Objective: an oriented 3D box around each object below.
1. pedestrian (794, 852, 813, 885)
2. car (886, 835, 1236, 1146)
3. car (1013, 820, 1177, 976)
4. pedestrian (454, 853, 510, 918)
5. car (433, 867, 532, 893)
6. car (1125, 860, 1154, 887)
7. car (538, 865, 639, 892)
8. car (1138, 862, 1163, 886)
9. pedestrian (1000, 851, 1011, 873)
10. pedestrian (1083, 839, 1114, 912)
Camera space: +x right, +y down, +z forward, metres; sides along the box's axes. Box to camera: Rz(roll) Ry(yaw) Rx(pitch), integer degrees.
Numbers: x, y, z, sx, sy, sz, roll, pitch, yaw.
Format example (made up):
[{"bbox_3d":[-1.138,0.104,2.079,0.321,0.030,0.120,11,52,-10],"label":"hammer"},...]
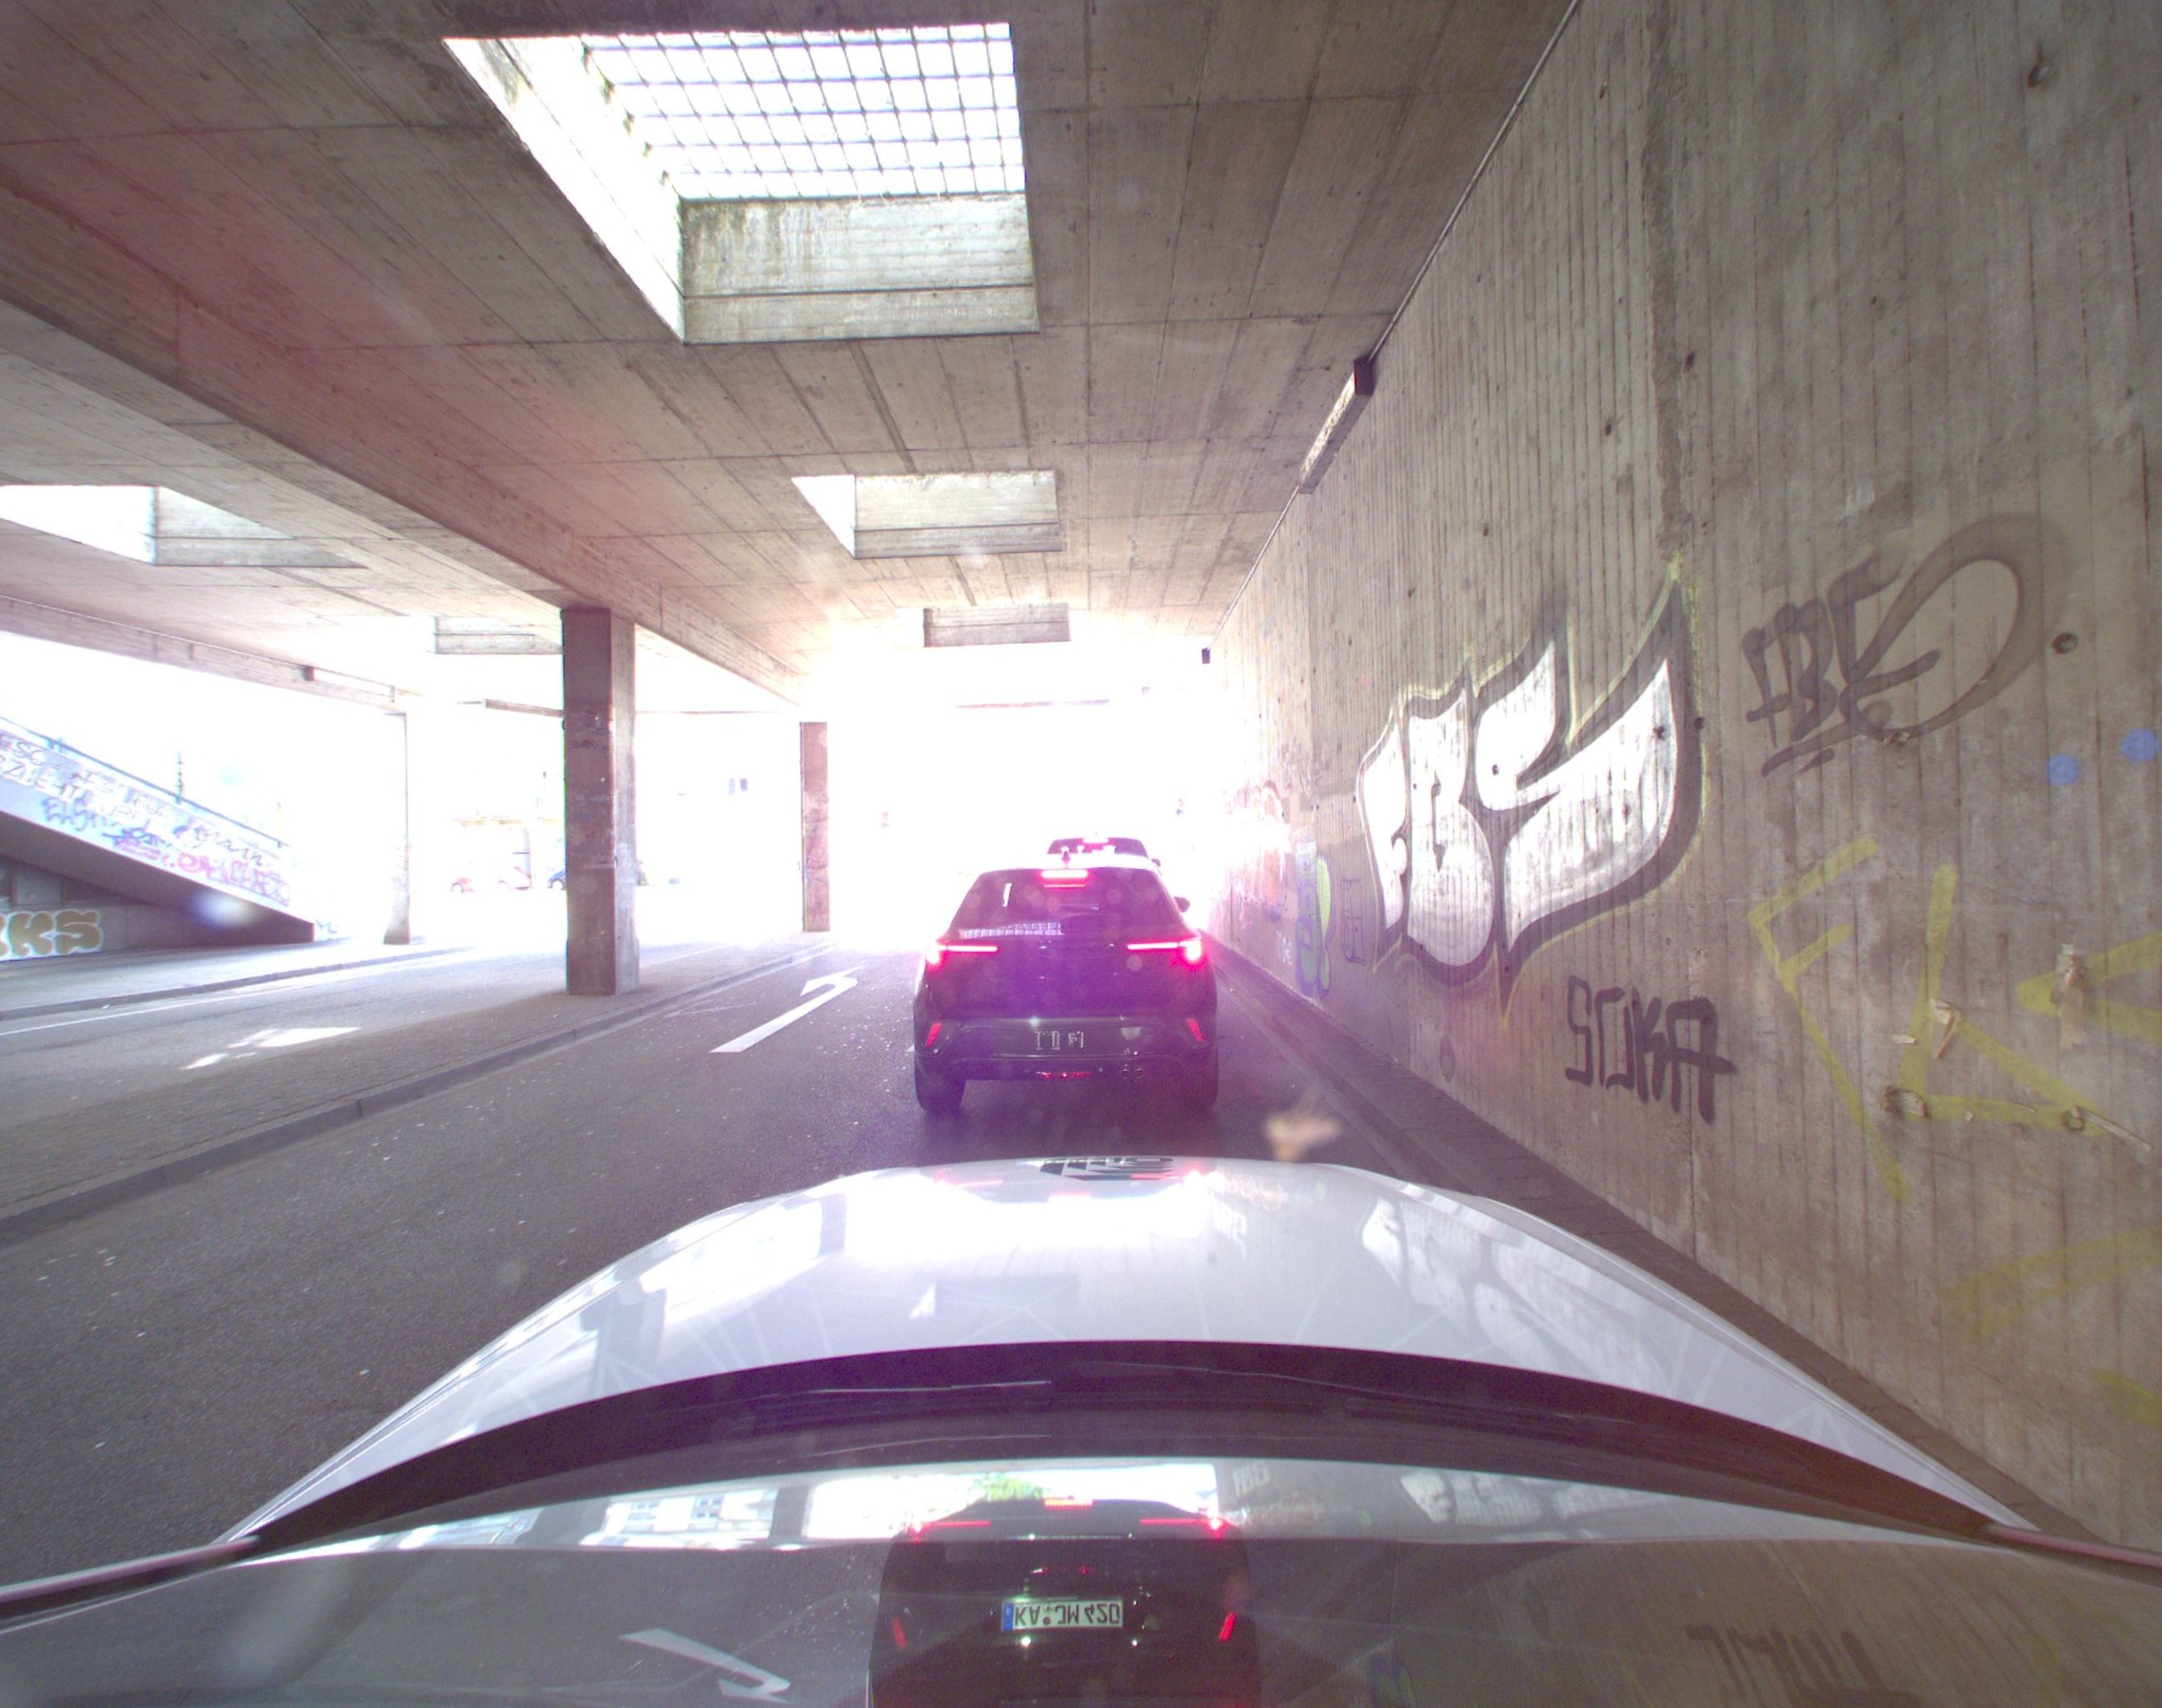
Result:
[{"bbox_3d":[-13.750,0.716,40.314,0.669,1.637,0.741,0,-1,1],"label":"pedestrian"},{"bbox_3d":[-0.038,0.655,6.114,1.758,1.571,4.002,0,1,2],"label":"car"},{"bbox_3d":[0.236,0.544,12.078,1.986,1.871,4.002,-2,0,2],"label":"car"},{"bbox_3d":[-16.386,0.852,22.294,0.925,1.762,0.795,0,-1,3],"label":"pedestrian"},{"bbox_3d":[-33.087,1.420,45.097,3.975,1.409,1.925,0,-1,-1],"label":"car"},{"bbox_3d":[4.514,1.440,62.365,1.983,1.970,4.172,0,-1,7],"label":"car"},{"bbox_3d":[-27.293,1.362,45.230,4.393,1.409,1.925,0,-1,-1],"label":"car"},{"bbox_3d":[5.872,1.673,68.531,1.983,1.970,4.172,0,-1,7],"label":"car"},{"bbox_3d":[-7.023,0.747,75.784,0.887,2.088,0.810,0,-1,9],"label":"pedestrian"},{"bbox_3d":[0.429,0.518,20.015,0.728,1.734,0.874,0,-1,1],"label":"pedestrian"}]
